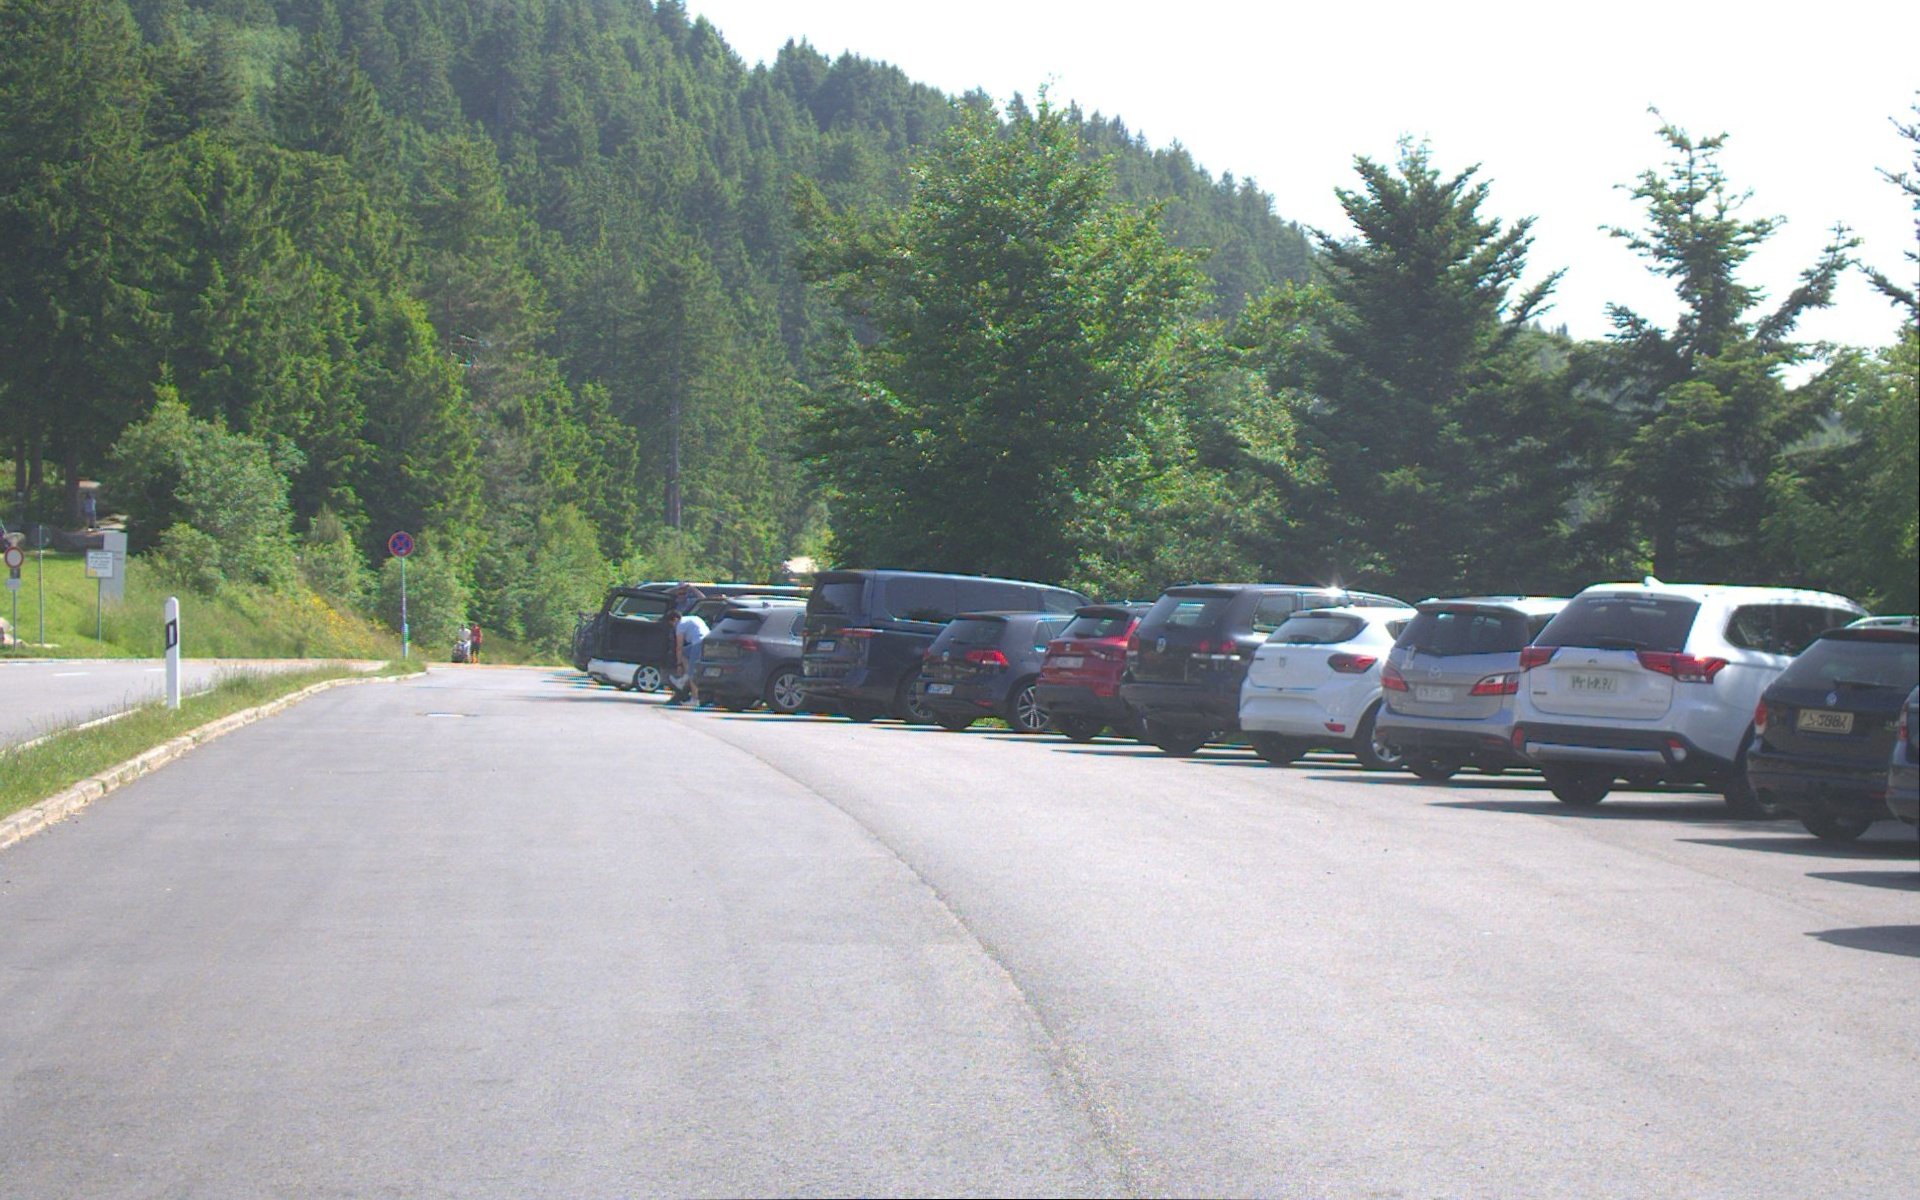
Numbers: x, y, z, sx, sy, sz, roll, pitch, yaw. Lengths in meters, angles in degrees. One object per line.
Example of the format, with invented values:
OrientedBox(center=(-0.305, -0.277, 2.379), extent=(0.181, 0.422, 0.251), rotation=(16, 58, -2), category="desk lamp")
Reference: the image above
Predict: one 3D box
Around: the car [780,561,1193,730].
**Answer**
OrientedBox(center=(0.349, 0.581, 43.482), extent=(4.756, 1.873, 1.967), rotation=(3, -1, -26), category="car")

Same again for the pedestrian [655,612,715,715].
OrientedBox(center=(-3.820, 0.878, 47.727), extent=(0.773, 1.398, 0.669), rotation=(0, 1, -1), category="pedestrian")

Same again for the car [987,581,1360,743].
OrientedBox(center=(2.410, 0.703, 38.119), extent=(3.989, 1.584, 1.862), rotation=(4, -1, -44), category="car")

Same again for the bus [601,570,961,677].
OrientedBox(center=(-6.576, 0.829, 126.747), extent=(12.865, 3.566, 2.981), rotation=(1, 2, 10), category="bus")

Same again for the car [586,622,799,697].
OrientedBox(center=(-6.074, 1.356, 78.124), extent=(4.452, 1.294, 1.582), rotation=(5, -1, -23), category="car")

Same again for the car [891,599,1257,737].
OrientedBox(center=(1.363, 0.806, 40.478), extent=(3.987, 1.410, 1.744), rotation=(3, -1, -34), category="car")

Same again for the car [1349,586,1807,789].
OrientedBox(center=(5.347, 0.770, 29.449), extent=(3.989, 1.544, 1.819), rotation=(4, -1, -44), category="car")

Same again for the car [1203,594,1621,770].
OrientedBox(center=(4.316, 0.792, 32.456), extent=(3.989, 1.471, 1.767), rotation=(4, -1, -44), category="car")

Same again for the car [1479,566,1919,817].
OrientedBox(center=(5.973, 0.689, 25.899), extent=(4.215, 1.689, 1.862), rotation=(2, 0, -44), category="car")

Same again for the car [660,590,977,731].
OrientedBox(center=(-2.026, 0.877, 49.589), extent=(3.987, 1.656, 2.000), rotation=(6, -3, -34), category="car")

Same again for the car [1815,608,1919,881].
OrientedBox(center=(6.889, 0.882, 19.477), extent=(3.793, 1.454, 1.663), rotation=(3, 0, -29), category="car")

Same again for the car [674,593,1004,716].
OrientedBox(center=(-1.625, 0.734, 46.405), extent=(3.986, 1.438, 1.840), rotation=(3, -1, -28), category="car")

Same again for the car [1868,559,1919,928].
OrientedBox(center=(6.439, 0.755, 15.680), extent=(4.170, 1.644, 1.892), rotation=(3, -1, -27), category="car")

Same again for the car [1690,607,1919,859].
OrientedBox(center=(6.893, 0.888, 22.362), extent=(4.038, 1.456, 1.895), rotation=(3, -1, -35), category="car")

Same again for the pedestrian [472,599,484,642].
OrientedBox(center=(-19.637, 0.821, 140.088), extent=(0.395, 1.741, 0.406), rotation=(1, 1, 9), category="pedestrian")

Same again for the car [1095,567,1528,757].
OrientedBox(center=(3.580, 0.646, 34.533), extent=(4.261, 1.689, 1.990), rotation=(4, -1, -45), category="car")

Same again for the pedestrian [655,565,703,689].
OrientedBox(center=(-4.082, 0.397, 49.924), extent=(0.579, 1.755, 0.633), rotation=(4, -1, -3), category="pedestrian")
